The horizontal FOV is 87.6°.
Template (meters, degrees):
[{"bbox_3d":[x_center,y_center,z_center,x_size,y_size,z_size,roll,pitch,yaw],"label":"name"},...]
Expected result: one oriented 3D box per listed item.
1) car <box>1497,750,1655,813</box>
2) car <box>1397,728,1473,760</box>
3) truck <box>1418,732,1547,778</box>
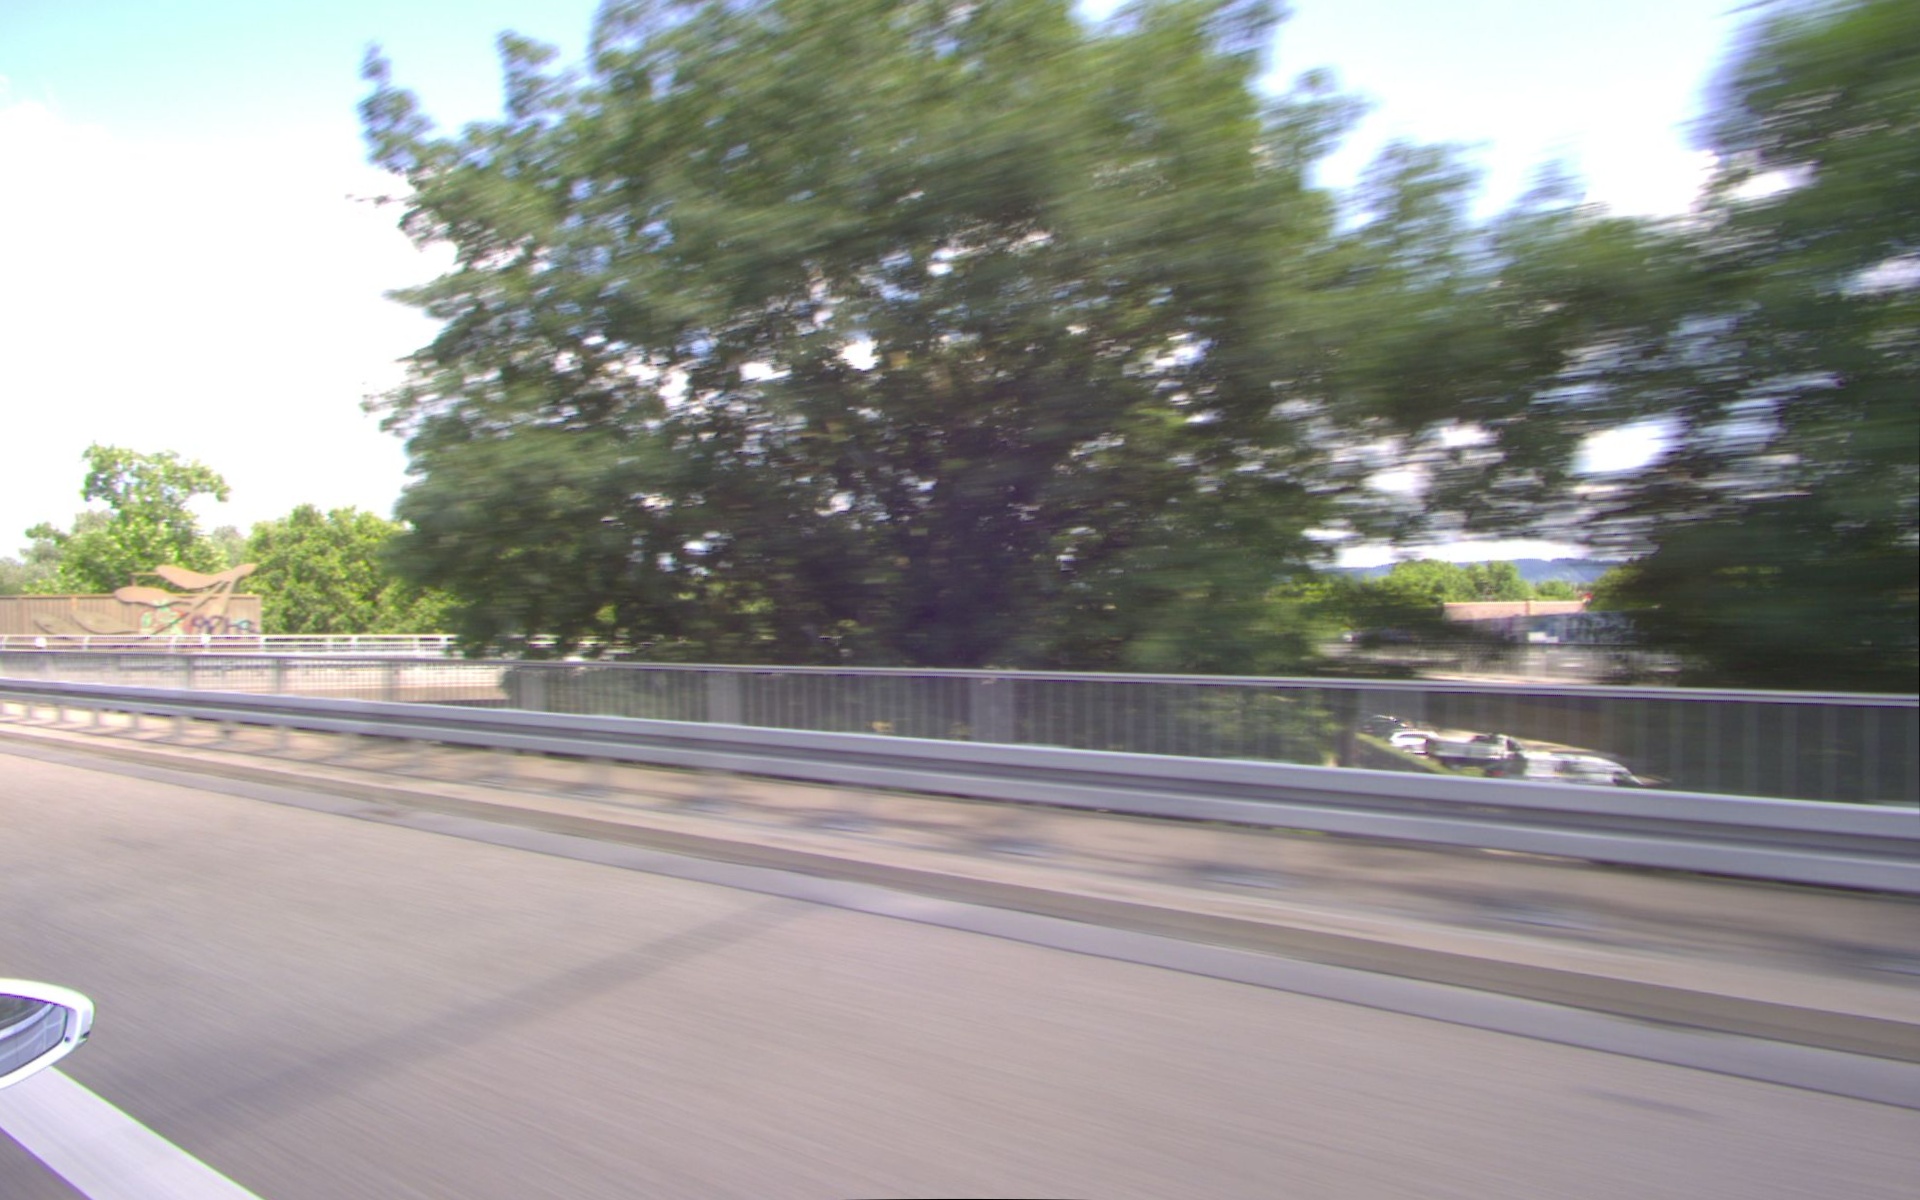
[{"bbox_3d":[26.918,7.940,43.952,5.468,2.345,2.232,0,-1,5],"label":"car"},{"bbox_3d":[29.657,8.987,62.591,3.975,1.794,1.725,0,-1,3],"label":"car"},{"bbox_3d":[28.684,8.513,55.109,5.782,2.161,2.440,0,-1,5],"label":"truck"}]
